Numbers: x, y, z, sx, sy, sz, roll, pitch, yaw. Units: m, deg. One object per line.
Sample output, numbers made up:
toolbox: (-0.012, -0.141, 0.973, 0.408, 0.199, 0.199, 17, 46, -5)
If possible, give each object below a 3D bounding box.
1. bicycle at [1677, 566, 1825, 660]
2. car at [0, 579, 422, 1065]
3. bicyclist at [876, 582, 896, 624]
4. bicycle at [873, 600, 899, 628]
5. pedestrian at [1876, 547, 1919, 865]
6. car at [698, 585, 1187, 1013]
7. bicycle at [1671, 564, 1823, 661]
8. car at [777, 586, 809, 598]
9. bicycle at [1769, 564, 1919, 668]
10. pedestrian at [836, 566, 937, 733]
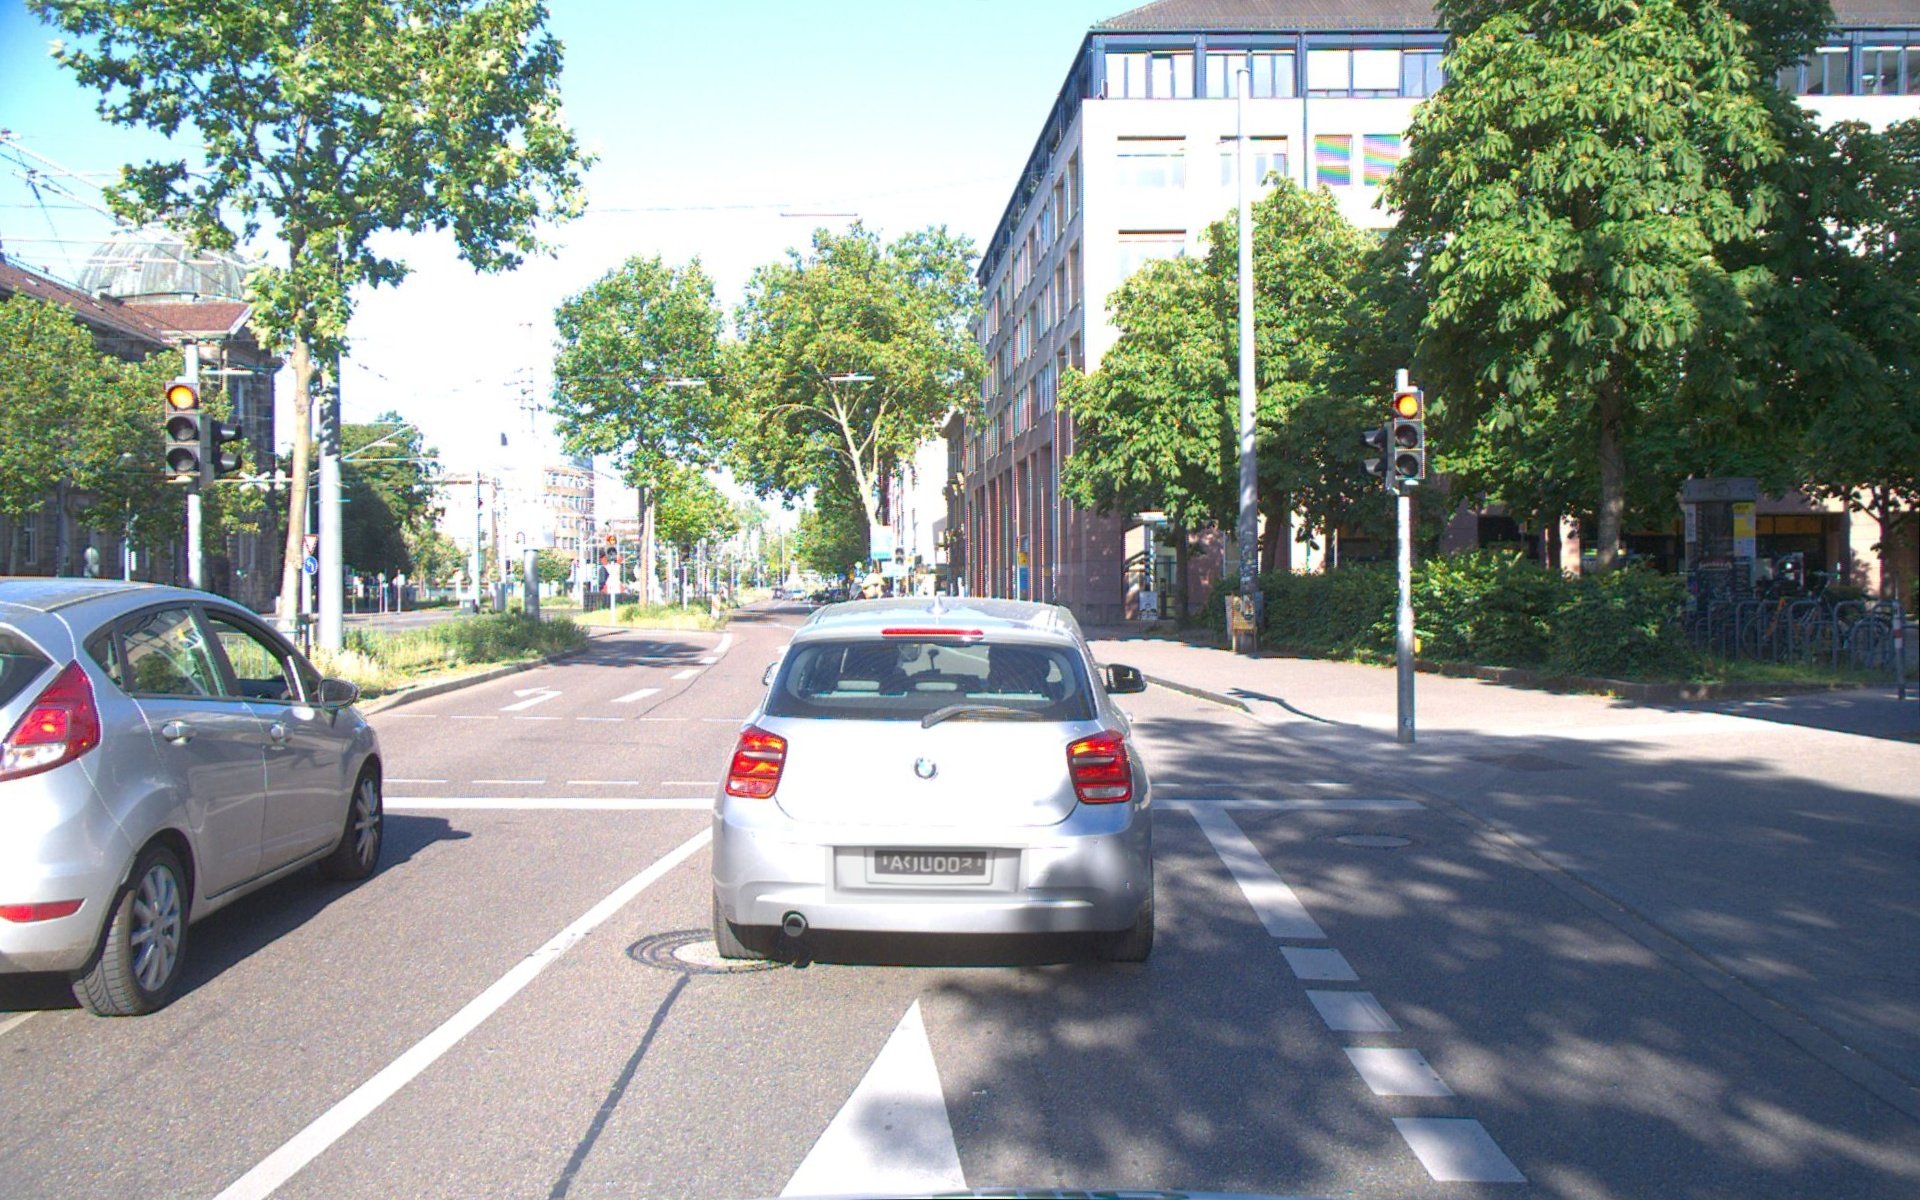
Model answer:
bicycle: (12.020, 0.196, 25.155, 1.956, 1.337, 0.574, -2, 0, -2)
car: (-3.497, 0.649, 6.659, 1.627, 1.434, 3.630, 1, 0, -3)
bicyclist: (-2.951, 0.115, 66.021, 0.644, 1.686, 0.765, -1, 0, 4)
bicycle: (-2.942, 0.557, 66.061, 0.814, 1.059, 1.875, -1, 0, 4)
pedestrian: (5.245, 0.522, 8.390, 0.732, 1.603, 0.820, -1, 0, -42)
car: (0.015, 0.676, 7.703, 1.694, 1.414, 3.841, 1, 1, 2)
bicycle: (11.663, 0.179, 24.526, 1.956, 1.337, 0.574, -2, 0, -2)
car: (-21.992, -1.064, 217.860, 3.923, 1.512, 1.991, 0, 0, 38)
bicycle: (12.185, 0.212, 22.598, 1.956, 1.337, 0.574, -2, 0, -2)
pedestrian: (-0.751, 0.490, 16.797, 0.925, 1.657, 0.626, 0, 0, -14)
